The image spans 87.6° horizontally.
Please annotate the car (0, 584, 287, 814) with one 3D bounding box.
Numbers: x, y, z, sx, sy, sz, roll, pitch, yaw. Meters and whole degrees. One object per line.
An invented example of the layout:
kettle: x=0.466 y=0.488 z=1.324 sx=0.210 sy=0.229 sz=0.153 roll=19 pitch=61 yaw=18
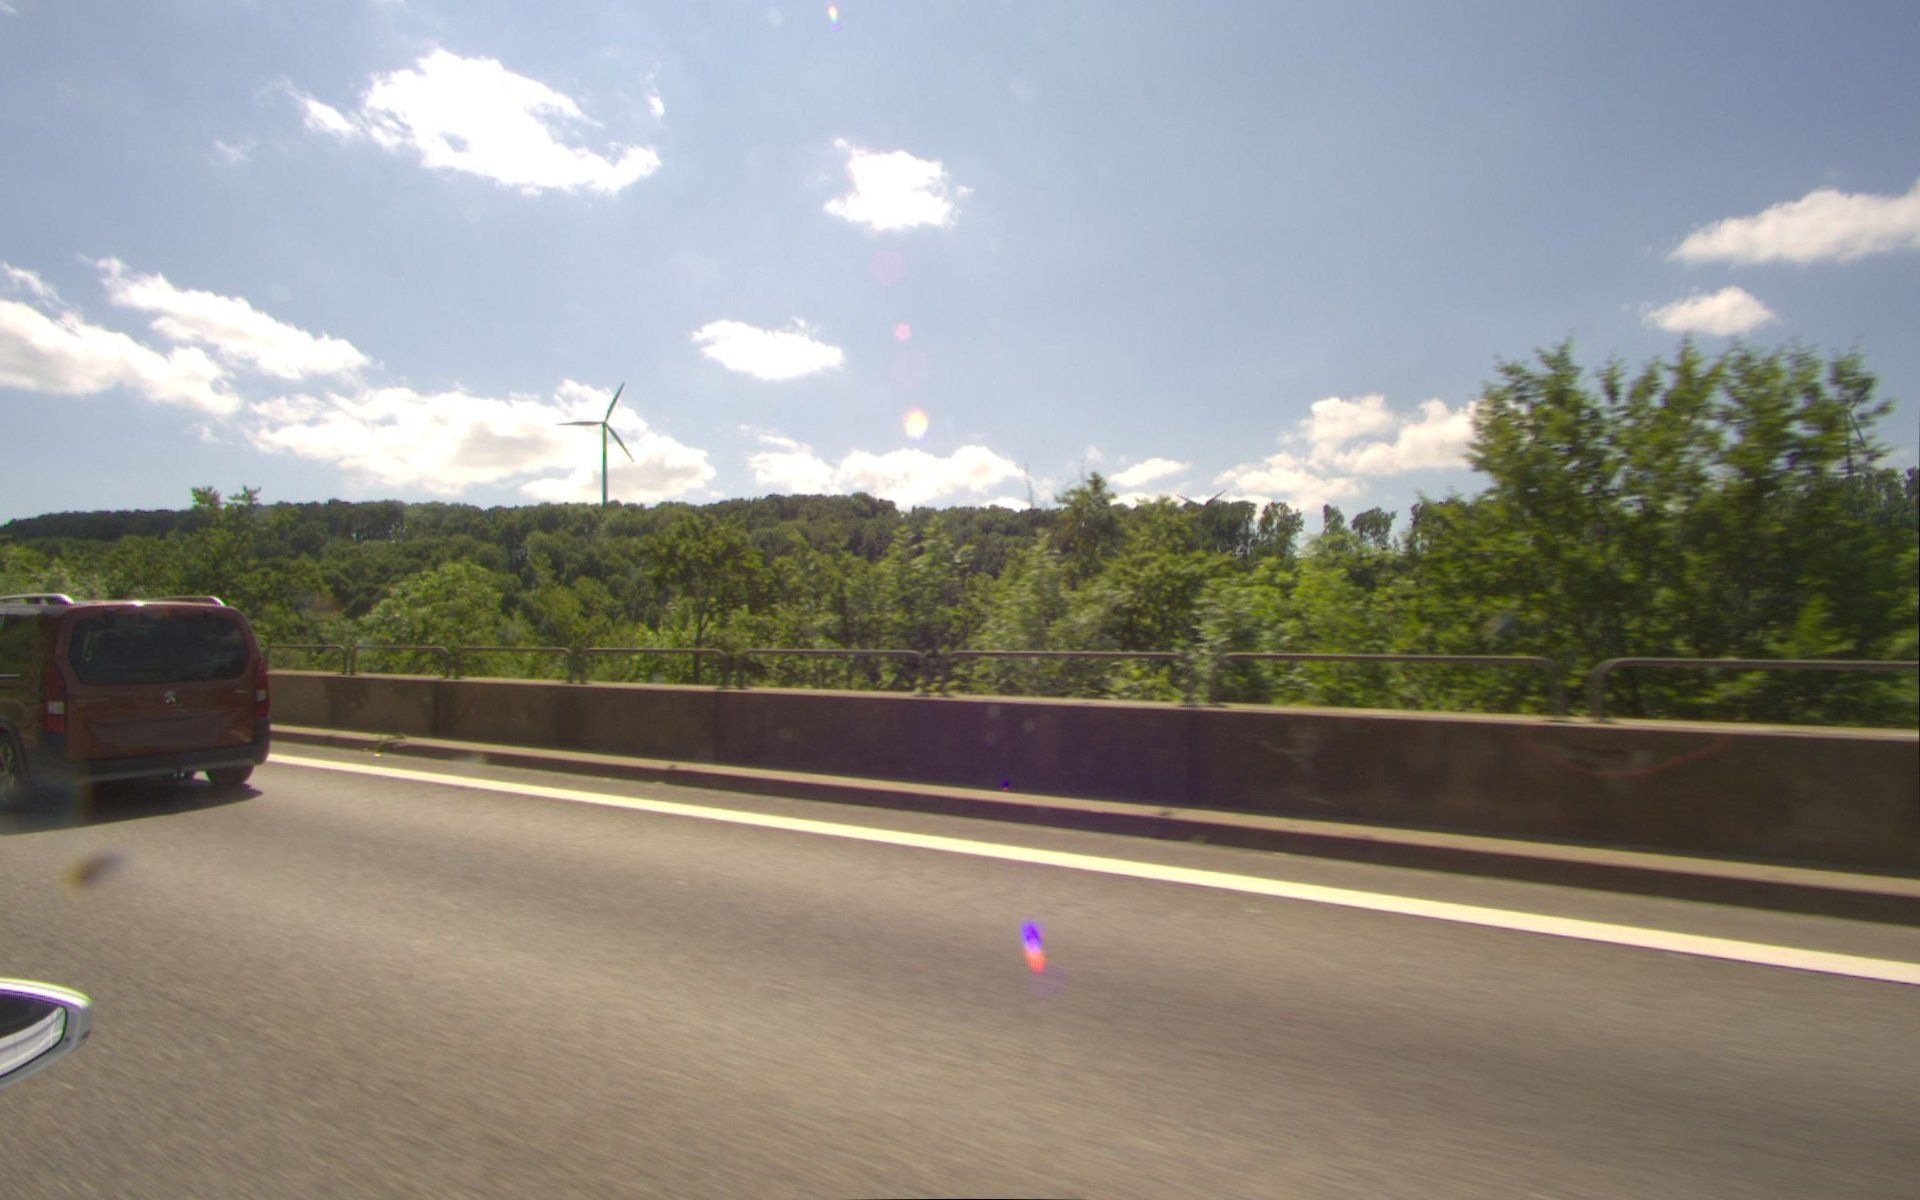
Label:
car: x=-8.774 y=0.859 z=9.884 sx=4.609 sy=1.807 sz=1.830 roll=-2 pitch=-2 yaw=32
